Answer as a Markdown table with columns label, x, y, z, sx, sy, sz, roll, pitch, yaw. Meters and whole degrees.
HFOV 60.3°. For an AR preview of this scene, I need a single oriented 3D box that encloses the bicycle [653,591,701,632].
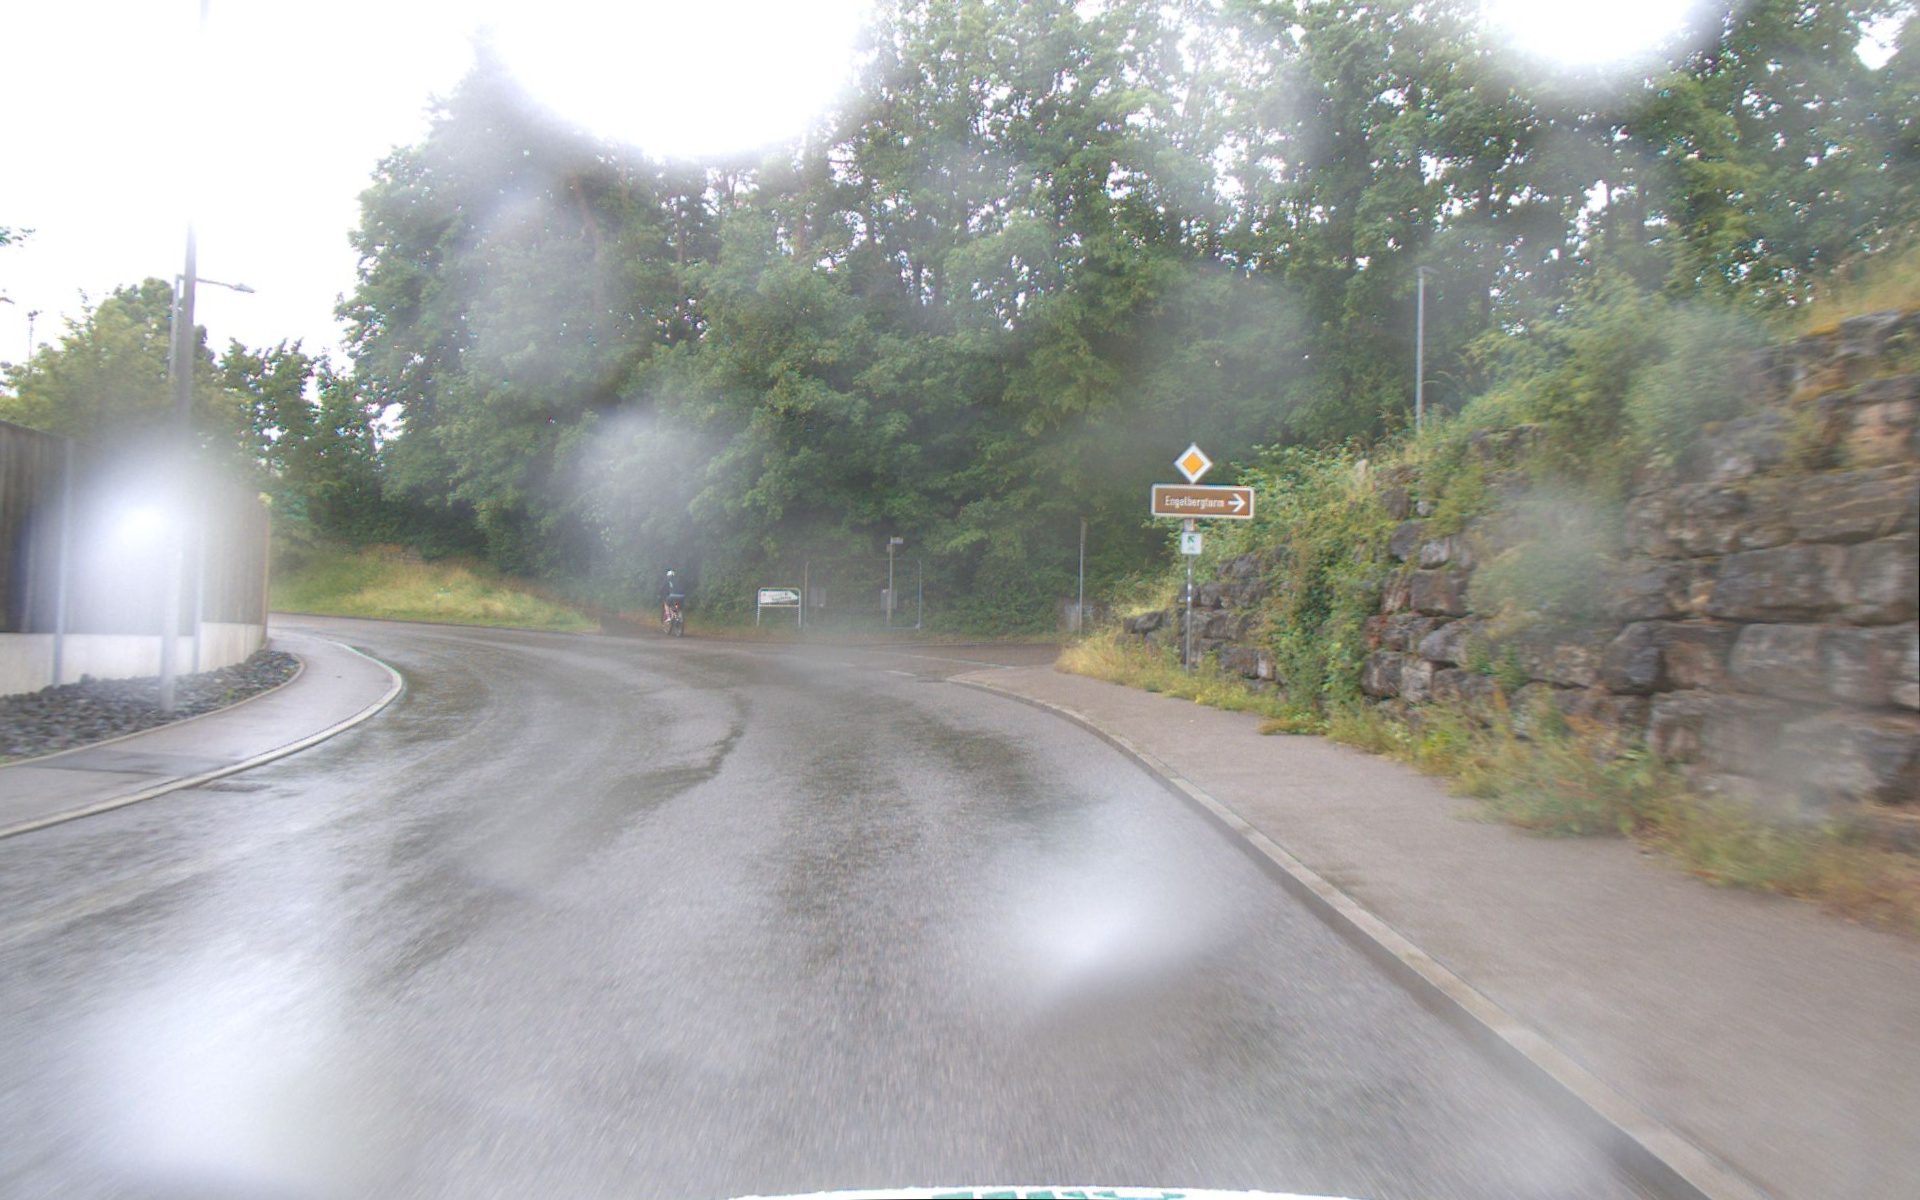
| label | x | y | z | sx | sy | sz | roll | pitch | yaw |
| --- | --- | --- | --- | --- | --- | --- | --- | --- | --- |
| bicycle | -7.820 | 0.315 | 45.671 | 0.524 | 1.104 | 1.597 | 1 | 0 | -41 |

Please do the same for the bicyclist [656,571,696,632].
| label | x | y | z | sx | sy | sz | roll | pitch | yaw |
| --- | --- | --- | --- | --- | --- | --- | --- | --- | --- |
| bicyclist | -7.830 | 0.045 | 45.651 | 0.715 | 1.643 | 0.893 | 2 | 0 | -38 |
